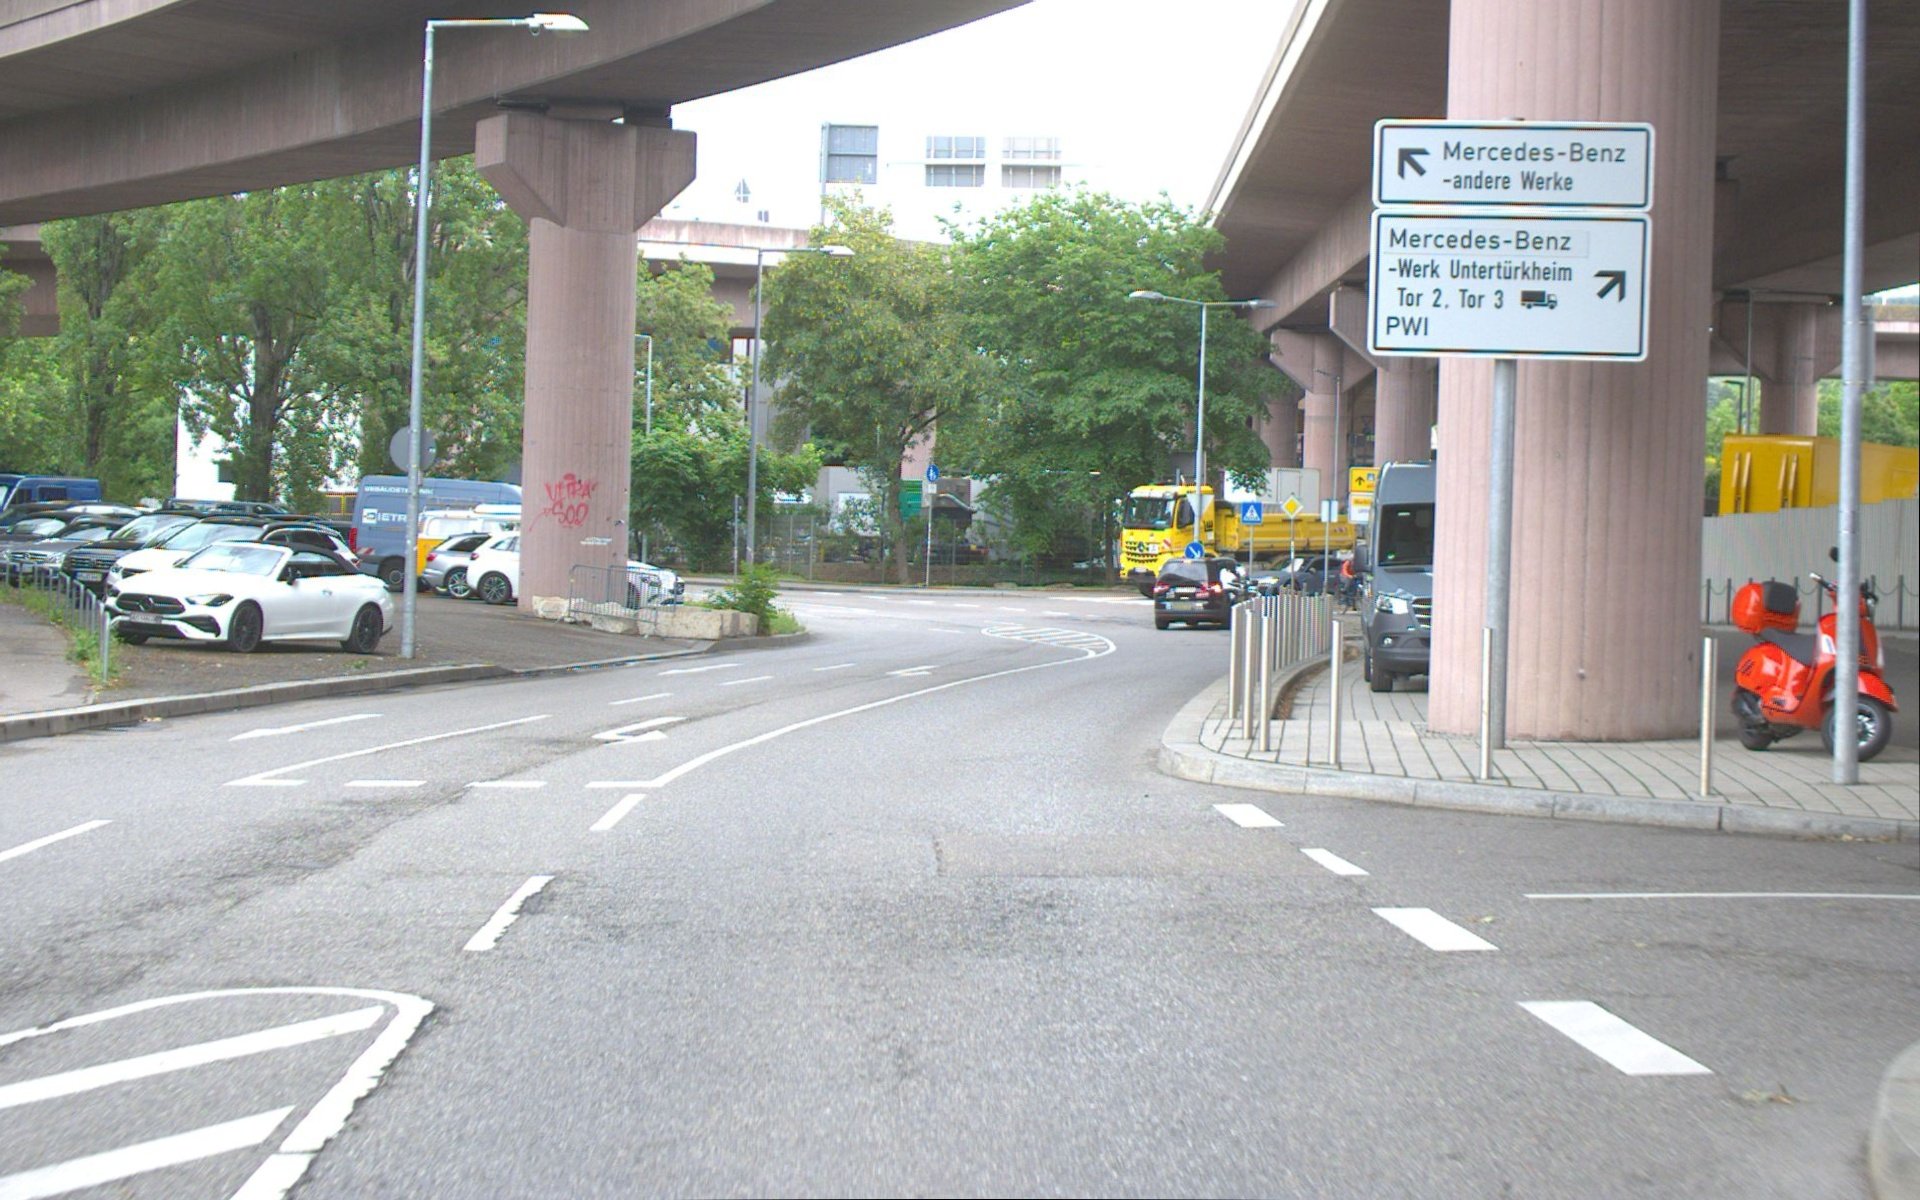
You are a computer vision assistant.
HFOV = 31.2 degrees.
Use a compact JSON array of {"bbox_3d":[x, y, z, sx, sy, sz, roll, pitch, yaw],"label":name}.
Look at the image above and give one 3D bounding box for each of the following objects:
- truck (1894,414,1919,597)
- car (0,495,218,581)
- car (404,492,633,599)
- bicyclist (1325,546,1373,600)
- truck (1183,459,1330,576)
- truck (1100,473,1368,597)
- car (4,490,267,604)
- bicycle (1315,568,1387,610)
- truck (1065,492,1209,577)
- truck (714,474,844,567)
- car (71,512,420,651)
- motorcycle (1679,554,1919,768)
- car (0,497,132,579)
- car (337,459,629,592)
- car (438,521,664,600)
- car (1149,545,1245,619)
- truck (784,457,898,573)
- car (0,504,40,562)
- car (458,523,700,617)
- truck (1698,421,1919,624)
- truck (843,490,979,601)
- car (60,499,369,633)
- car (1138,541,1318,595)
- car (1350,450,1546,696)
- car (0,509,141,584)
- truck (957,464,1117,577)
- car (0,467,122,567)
[{"bbox_3d":[29.213,-2.459,94.008,3.146,4.886,8.695,2,1,44],"label":"truck"},{"bbox_3d":[-16.422,-1.189,65.443,1.859,1.482,4.882,4,3,25],"label":"car"},{"bbox_3d":[-9.642,-1.191,75.202,4.558,2.104,1.850,3,1,10],"label":"car"},{"bbox_3d":[10.311,-0.717,91.100,0.796,1.400,1.066,-1,1,-30],"label":"bicyclist"},{"bbox_3d":[11.419,-3.259,133.184,3.064,4.284,8.052,0,3,-15],"label":"truck"},{"bbox_3d":[8.407,-2.040,105.030,8.220,3.469,2.936,-2,6,-38],"label":"truck"},{"bbox_3d":[-13.158,-0.829,55.082,1.859,1.685,4.158,2,1,25],"label":"car"},{"bbox_3d":[10.342,-0.296,91.051,0.802,1.094,2.131,-1,1,-29],"label":"bicycle"},{"bbox_3d":[6.383,-2.420,124.815,2.914,2.889,6.561,0,3,-19],"label":"truck"},{"bbox_3d":[-7.667,-3.372,144.445,3.054,3.606,7.918,0,3,-21],"label":"truck"},{"bbox_3d":[-9.233,-0.200,44.879,1.996,1.474,4.822,6,0,22],"label":"car"},{"bbox_3d":[5.792,0.383,23.554,0.795,1.362,2.130,0,2,-16],"label":"motorcycle"},{"bbox_3d":[-19.348,-1.290,71.505,1.898,1.670,4.148,1,1,27],"label":"car"},{"bbox_3d":[-10.800,-1.688,78.181,6.175,2.715,2.368,2,1,1],"label":"car"},{"bbox_3d":[-8.612,-0.836,72.493,4.246,1.366,1.999,4,2,12],"label":"car"},{"bbox_3d":[5.663,-0.459,82.695,1.993,1.673,4.560,2,1,1],"label":"car"},{"bbox_3d":[-5.173,-3.734,148.058,3.202,4.763,8.052,0,3,-14],"label":"truck"},{"bbox_3d":[-24.873,-1.643,84.197,1.996,1.430,4.639,0,1,26],"label":"car"},{"bbox_3d":[-7.696,-0.619,69.510,4.384,1.600,1.953,4,2,15],"label":"car"},{"bbox_3d":[22.456,-1.886,87.031,3.146,4.900,8.695,2,1,44],"label":"truck"},{"bbox_3d":[-1.889,-2.036,128.215,3.065,3.949,6.925,-2,1,-18],"label":"truck"},{"bbox_3d":[-10.472,-0.448,48.610,1.996,1.577,4.395,6,1,23],"label":"car"},{"bbox_3d":[7.752,-0.933,99.332,4.917,1.496,2.173,0,1,-35],"label":"car"},{"bbox_3d":[5.530,-0.341,39.602,1.994,2.604,6.073,0,1,6],"label":"car"},{"bbox_3d":[-18.015,-1.065,68.241,1.645,1.436,3.731,1,1,19],"label":"car"},{"bbox_3d":[2.681,-2.916,123.614,3.065,3.854,8.051,0,3,-19],"label":"truck"},{"bbox_3d":[-21.748,-1.889,79.374,2.120,2.247,5.012,1,1,22],"label":"car"}]
